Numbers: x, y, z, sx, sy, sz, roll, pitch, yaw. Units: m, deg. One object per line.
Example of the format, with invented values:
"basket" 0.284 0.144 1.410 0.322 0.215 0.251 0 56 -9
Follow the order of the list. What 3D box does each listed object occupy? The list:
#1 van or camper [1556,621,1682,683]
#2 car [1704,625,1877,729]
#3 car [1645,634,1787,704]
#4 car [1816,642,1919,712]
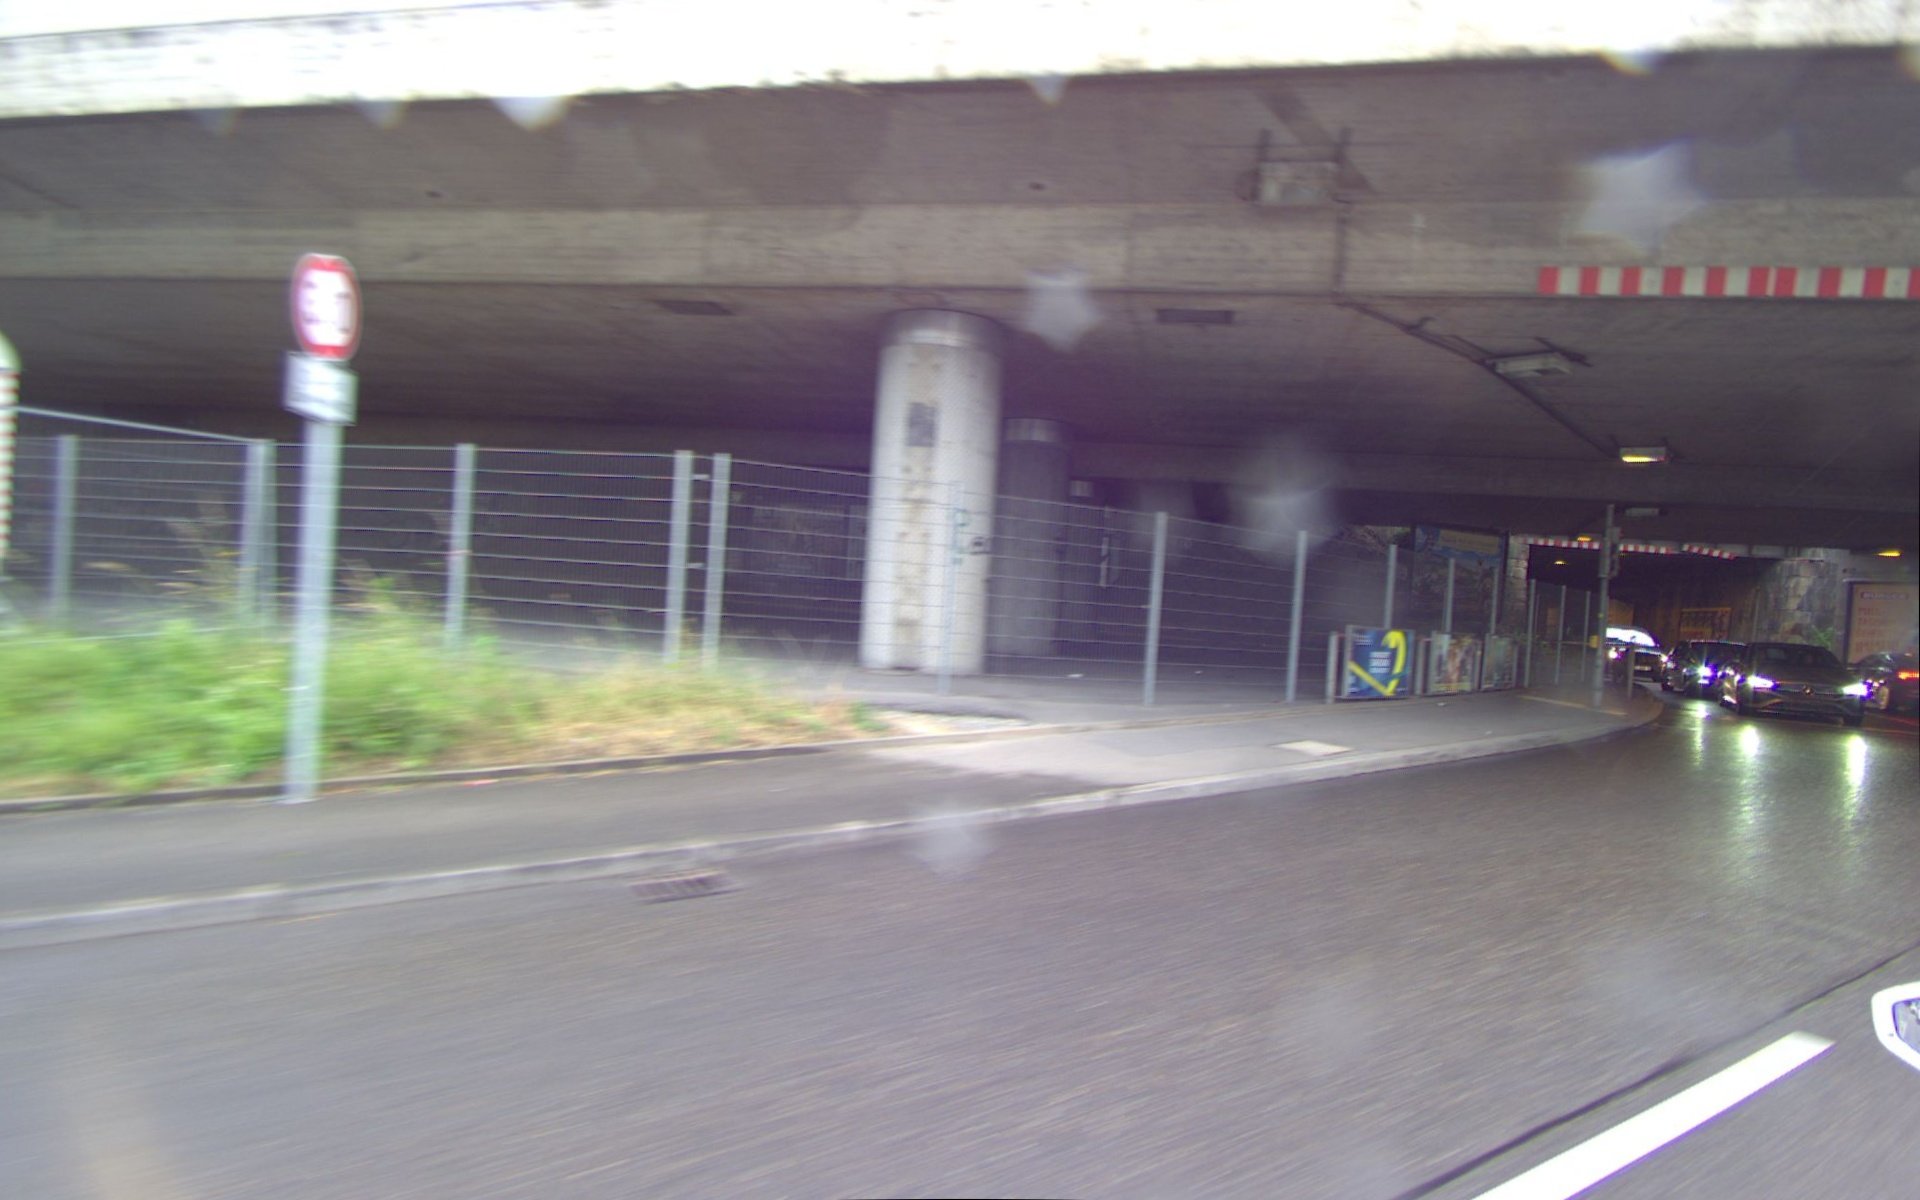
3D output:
"van or camper" 22.997 1.749 35.302 1.960 1.893 5.142 3 0 13
"car" 16.195 1.402 19.834 1.965 1.550 4.488 4 2 32
"car" 18.953 1.667 25.384 1.962 1.484 4.103 3 0 25
"car" 22.619 1.840 24.236 1.807 1.457 4.101 4 0 24
